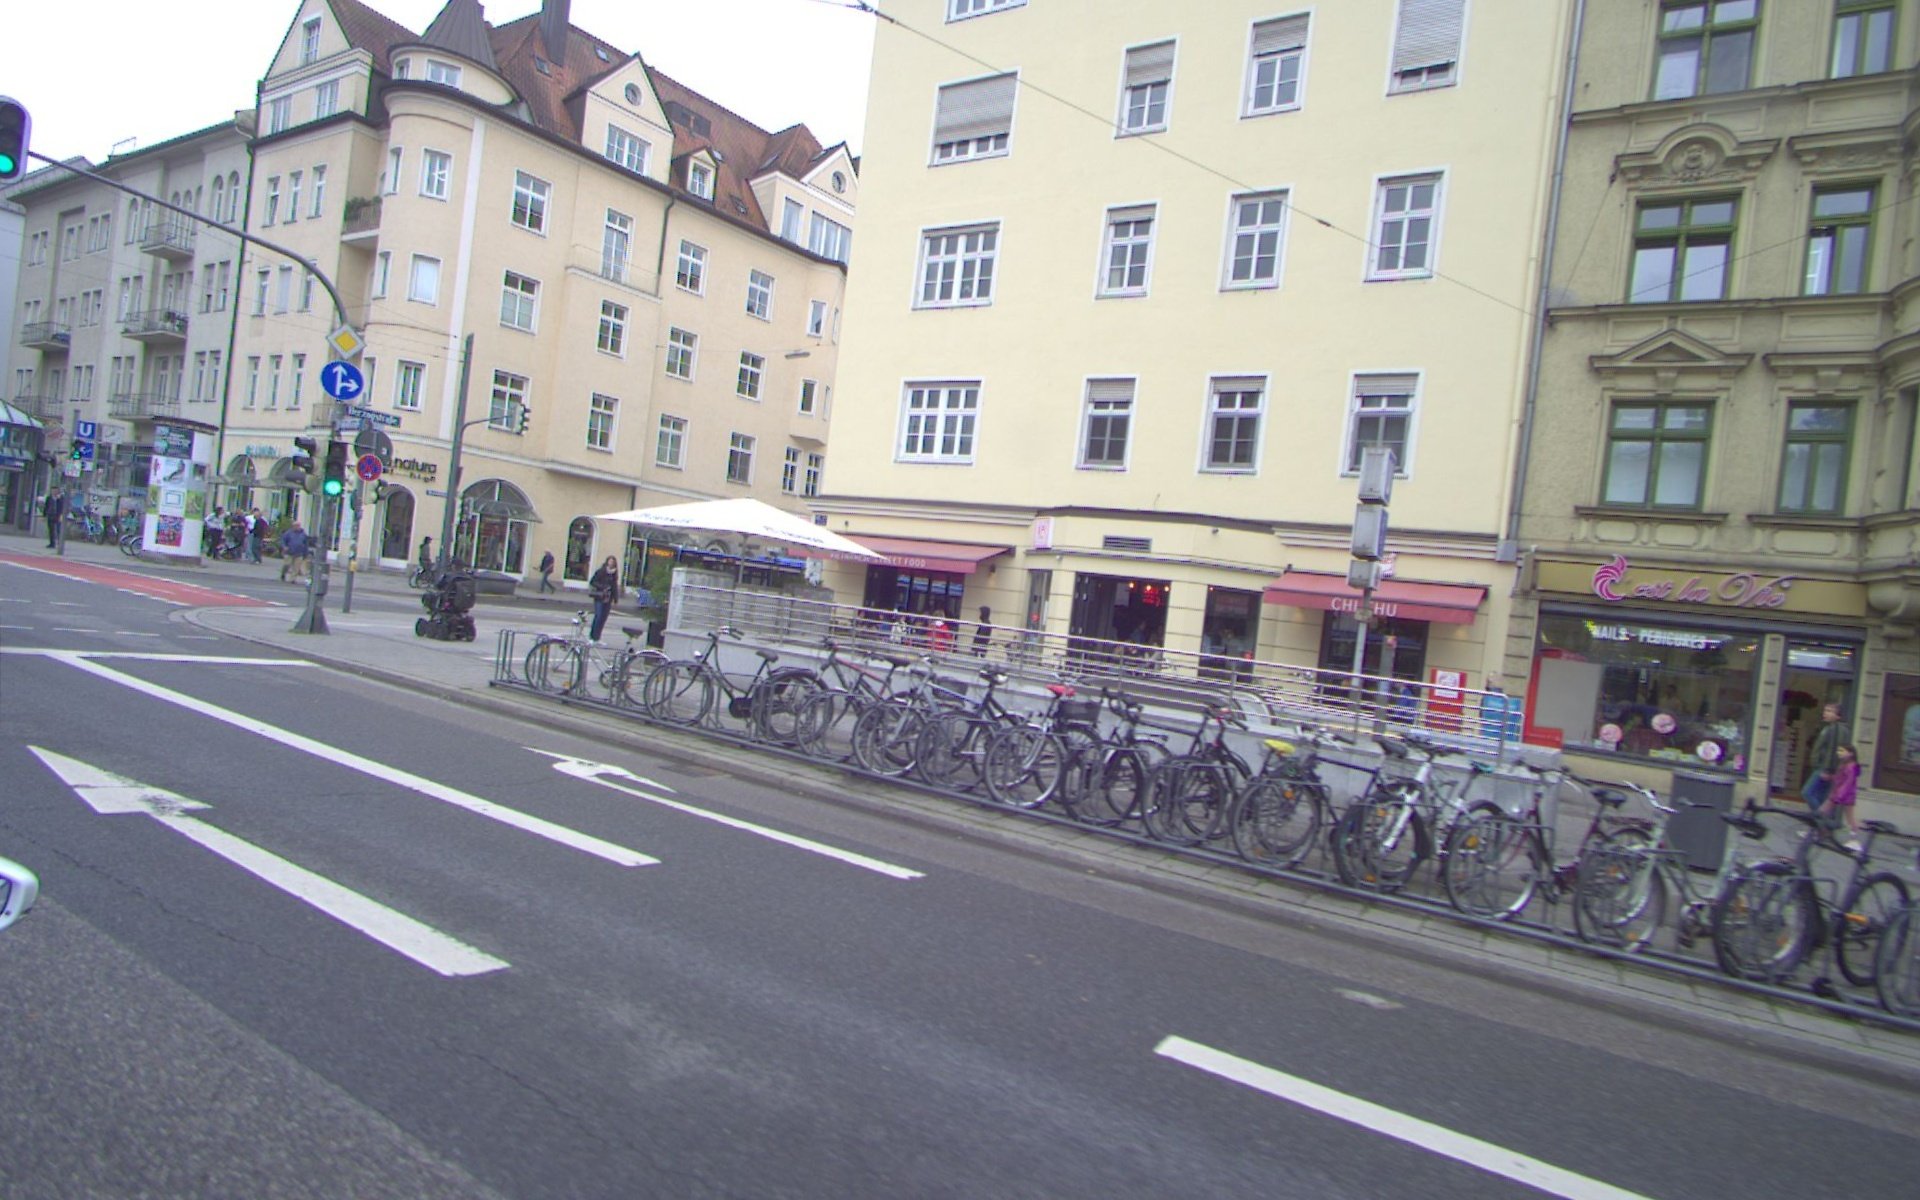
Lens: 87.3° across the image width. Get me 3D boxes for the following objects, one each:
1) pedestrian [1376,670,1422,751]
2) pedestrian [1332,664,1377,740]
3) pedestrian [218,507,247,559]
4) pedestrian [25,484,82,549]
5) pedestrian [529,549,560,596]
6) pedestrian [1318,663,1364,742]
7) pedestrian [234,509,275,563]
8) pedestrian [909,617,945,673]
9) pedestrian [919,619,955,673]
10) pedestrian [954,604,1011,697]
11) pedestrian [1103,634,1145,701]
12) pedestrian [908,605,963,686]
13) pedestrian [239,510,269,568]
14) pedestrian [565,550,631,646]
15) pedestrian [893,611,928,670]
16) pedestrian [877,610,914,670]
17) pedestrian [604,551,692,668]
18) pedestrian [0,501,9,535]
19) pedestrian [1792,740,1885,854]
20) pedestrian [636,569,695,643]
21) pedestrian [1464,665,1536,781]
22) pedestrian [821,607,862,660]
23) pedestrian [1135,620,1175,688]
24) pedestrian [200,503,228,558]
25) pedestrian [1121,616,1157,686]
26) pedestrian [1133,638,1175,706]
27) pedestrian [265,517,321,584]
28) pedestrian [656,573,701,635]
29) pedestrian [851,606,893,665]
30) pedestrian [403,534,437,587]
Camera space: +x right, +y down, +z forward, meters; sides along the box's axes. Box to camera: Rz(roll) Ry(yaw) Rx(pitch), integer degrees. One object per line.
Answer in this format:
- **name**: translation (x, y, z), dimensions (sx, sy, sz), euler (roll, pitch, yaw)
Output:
- **pedestrian**: translation (7.813, 1.963, 17.911), dimensions (0.543, 1.348, 0.495), euler (7, 1, 32)
- **pedestrian**: translation (7.242, 1.864, 18.472), dimensions (0.543, 1.305, 0.495), euler (7, 1, 32)
- **pedestrian**: translation (-24.355, -2.250, 33.693), dimensions (0.559, 1.630, 0.560), euler (6, 4, -45)
- **pedestrian**: translation (-25.901, -2.365, 28.765), dimensions (0.825, 1.712, 0.815), euler (7, 1, -21)
- **pedestrian**: translation (-16.384, -1.091, 39.683), dimensions (0.736, 1.727, 0.679), euler (11, 4, 41)
- **pedestrian**: translation (6.742, 1.802, 17.785), dimensions (0.543, 1.305, 0.495), euler (7, 1, 32)
- **pedestrian**: translation (-24.028, -2.176, 34.268), dimensions (0.720, 1.727, 0.645), euler (9, 3, 3)
- **pedestrian**: translation (-0.739, 1.004, 22.538), dimensions (0.518, 1.180, 0.479), euler (7, 0, 30)
- **pedestrian**: translation (-0.526, 1.057, 23.027), dimensions (0.518, 1.180, 0.479), euler (7, 0, 30)
- **pedestrian**: translation (0.425, 0.954, 18.970), dimensions (0.666, 1.653, 0.615), euler (7, 1, 32)
- **pedestrian**: translation (3.390, 1.404, 20.808), dimensions (0.543, 1.305, 0.541), euler (7, 1, 32)
- **pedestrian**: translation (-0.452, 0.858, 18.924), dimensions (0.606, 1.440, 0.676), euler (7, 0, 32)
- **pedestrian**: translation (-23.318, -2.012, 33.218), dimensions (0.645, 1.774, 0.630), euler (7, 3, -36)
- **pedestrian**: translation (-6.898, -0.038, 19.216), dimensions (0.753, 1.716, 0.761), euler (7, 1, 7)
- **pedestrian**: translation (-1.160, 0.954, 23.585), dimensions (0.518, 1.315, 0.479), euler (7, 1, 30)
- **pedestrian**: translation (-1.470, 0.915, 22.954), dimensions (0.518, 1.315, 0.479), euler (7, 1, 30)
- **pedestrian**: translation (-5.084, 0.164, 16.432), dimensions (0.842, 1.764, 0.884), euler (7, 0, 15)
- **pedestrian**: translation (-44.717, -3.825, 46.556), dimensions (0.745, 1.537, 0.778), euler (7, 2, 30)
- **pedestrian**: translation (10.824, 2.405, 12.420), dimensions (0.655, 1.237, 0.601), euler (7, 0, 32)
- **pedestrian**: translation (-6.666, 0.138, 22.809), dimensions (0.874, 1.560, 0.732), euler (7, 1, 17)
- **pedestrian**: translation (8.409, 1.899, 15.667), dimensions (0.773, 1.653, 0.711), euler (7, 0, 32)
- **pedestrian**: translation (-2.876, 0.813, 24.333), dimensions (0.691, 1.196, 0.515), euler (7, 0, 30)
- **pedestrian**: translation (4.274, 1.175, 22.021), dimensions (0.543, 1.414, 0.541), euler (7, 0, 32)
- **pedestrian**: translation (-24.458, -2.286, 32.979), dimensions (0.562, 1.692, 0.556), euler (7, 3, -36)
- **pedestrian**: translation (3.837, 1.091, 21.597), dimensions (0.542, 1.414, 0.543), euler (7, 0, 5)
- **pedestrian**: translation (3.959, 1.473, 20.480), dimensions (0.543, 1.305, 0.541), euler (7, 1, 32)
- **pedestrian**: translation (-19.155, -1.422, 28.889), dimensions (1.049, 1.777, 0.933), euler (7, 1, 39)
- **pedestrian**: translation (-7.902, 0.115, 28.278), dimensions (0.756, 1.605, 0.758), euler (7, 1, 36)
- **pedestrian**: translation (-2.104, 0.839, 23.983), dimensions (0.691, 1.308, 0.515), euler (7, 0, 30)
- **pedestrian**: translation (-19.034, -1.397, 35.447), dimensions (0.736, 1.707, 0.679), euler (11, 4, 41)
